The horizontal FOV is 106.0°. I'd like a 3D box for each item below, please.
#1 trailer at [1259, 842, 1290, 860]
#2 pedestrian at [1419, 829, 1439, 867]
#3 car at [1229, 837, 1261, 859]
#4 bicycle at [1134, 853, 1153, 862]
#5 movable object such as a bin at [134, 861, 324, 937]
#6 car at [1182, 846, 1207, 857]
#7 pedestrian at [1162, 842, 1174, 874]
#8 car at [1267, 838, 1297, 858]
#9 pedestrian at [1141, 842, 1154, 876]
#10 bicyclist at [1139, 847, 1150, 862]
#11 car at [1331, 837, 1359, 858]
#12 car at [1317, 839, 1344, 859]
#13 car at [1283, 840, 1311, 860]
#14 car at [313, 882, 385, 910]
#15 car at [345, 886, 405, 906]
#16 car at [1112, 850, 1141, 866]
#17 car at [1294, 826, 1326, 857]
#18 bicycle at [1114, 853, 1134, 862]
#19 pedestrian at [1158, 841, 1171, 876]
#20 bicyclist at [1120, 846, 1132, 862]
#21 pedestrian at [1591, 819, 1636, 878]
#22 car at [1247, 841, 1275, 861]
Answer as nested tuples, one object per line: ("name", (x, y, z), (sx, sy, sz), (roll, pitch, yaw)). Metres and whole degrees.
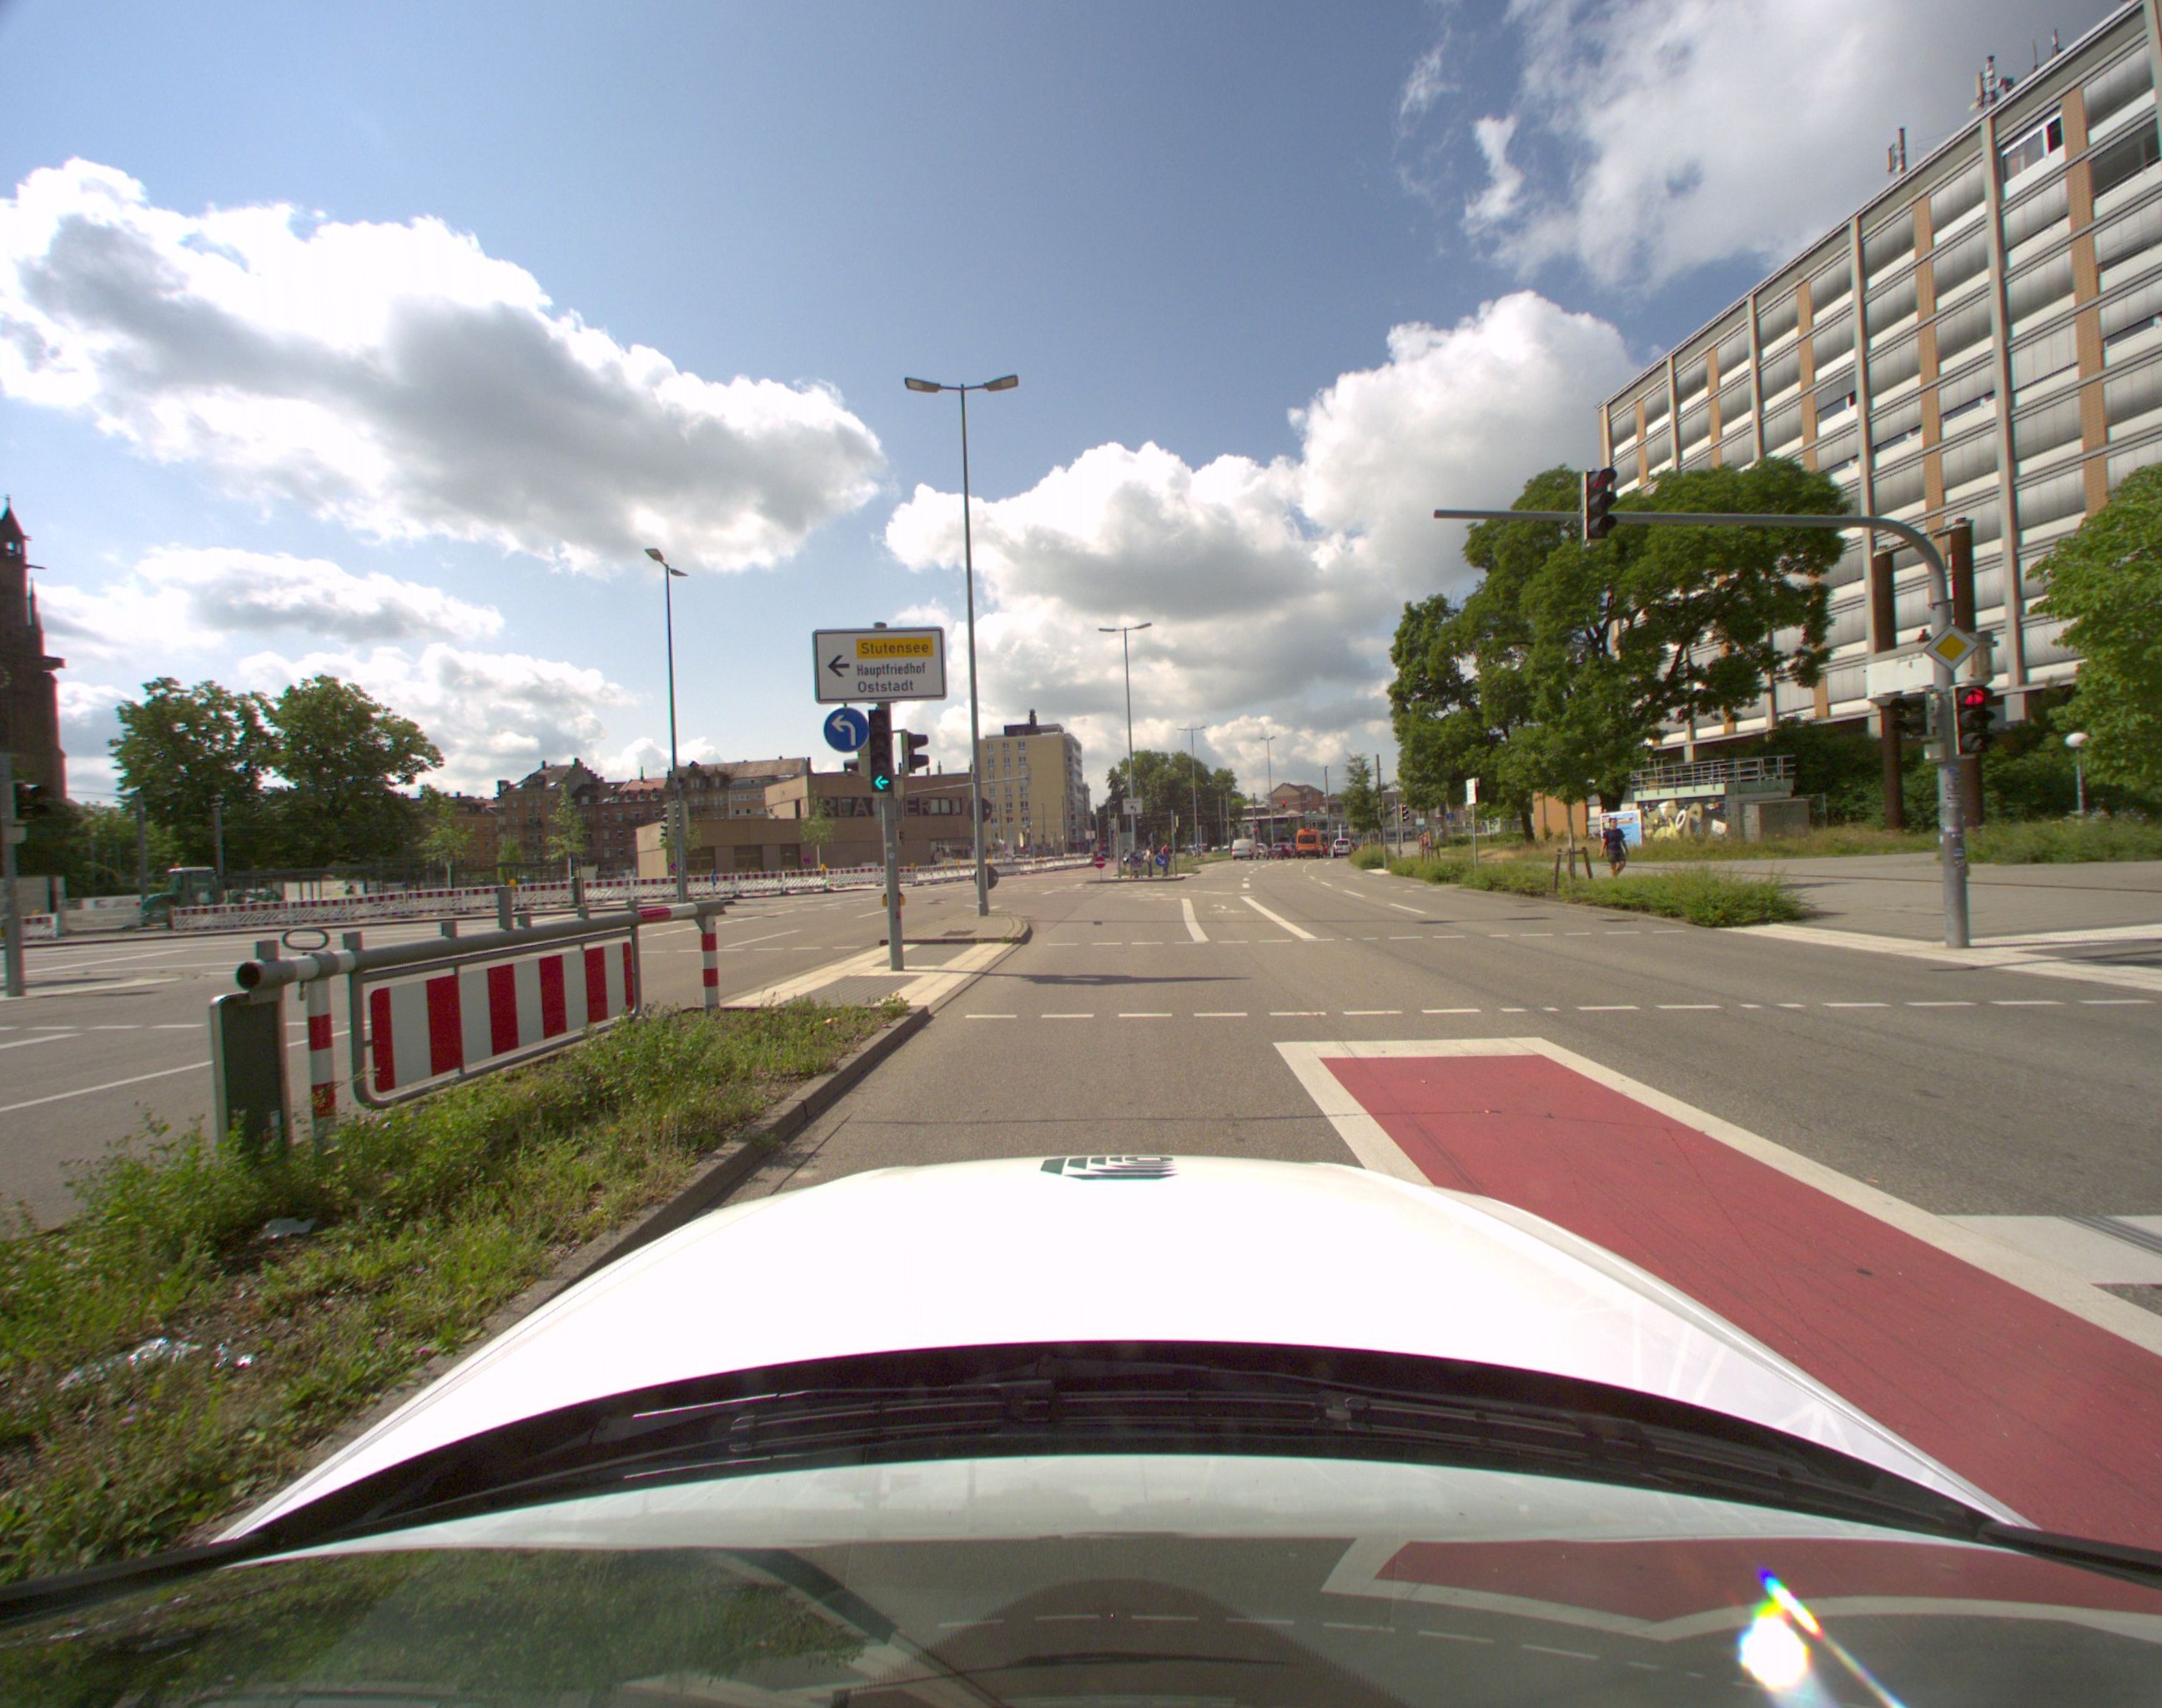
("trailer", (18.178, -0.327, 76.414), (1.975, 1.477, 4.023), (-3, 0, 25))
("pedestrian", (16.582, -0.286, 38.804), (0.656, 1.733, 0.579), (-3, 0, 7))
("car", (15.936, -0.581, 79.060), (1.987, 1.966, 4.665), (-3, 0, 24))
("bicycle", (8.317, 0.512, 108.684), (2.359, 1.066, 0.847), (-3, 0, 20))
("movable object such as a bin", (-37.367, 1.896, 35.917), (2.259, 2.884, 5.577), (-3, 0, 43))
("car", (15.854, -0.397, 113.728), (1.668, 1.480, 4.032), (0, 1, -22))
("pedestrian", (4.572, 0.208, 42.790), (0.521, 1.684, 0.625), (-3, 0, 9))
("car", (19.745, -0.585, 79.785), (1.975, 1.826, 4.023), (-3, 0, 25))
("pedestrian", (3.413, 0.242, 41.555), (0.521, 1.733, 0.625), (-3, 0, 9))
("bicyclist", (8.476, 0.082, 108.616), (1.209, 1.909, 0.838), (-3, 0, 20))
("car", (25.195, -0.662, 77.691), (1.975, 1.795, 4.024), (-3, 0, 25))
("car", (25.991, -0.528, 84.727), (1.973, 1.938, 4.665), (-3, 0, 24))
("car", (22.808, -0.441, 85.893), (1.973, 1.938, 4.665), (-3, 0, 24))
("car", (-58.953, 3.359, 65.691), (4.201, 1.881, 1.782), (-3, 0, -39))
("car", (-73.227, 4.321, 84.562), (4.385, 1.793, 1.766), (-3, 0, -30))
("car", (4.314, 0.354, 76.950), (1.778, 1.388, 4.245), (-2, 0, 15))
("car", (21.670, -1.178, 76.889), (2.111, 2.780, 4.665), (-3, 0, 24))
("bicycle", (5.571, 0.449, 104.538), (2.359, 1.066, 0.863), (-3, 0, 20))
("pedestrian", (4.193, 0.211, 40.659), (0.521, 1.733, 0.625), (-3, 0, 9))
("bicyclist", (5.740, 0.019, 104.461), (1.209, 1.909, 0.863), (-3, 0, 20))
("pedestrian", (14.050, -0.151, 21.498), (0.766, 1.508, 0.553), (-2, 0, 5))
("car", (19.205, -0.340, 86.693), (1.973, 1.938, 4.665), (-3, 0, 24))
